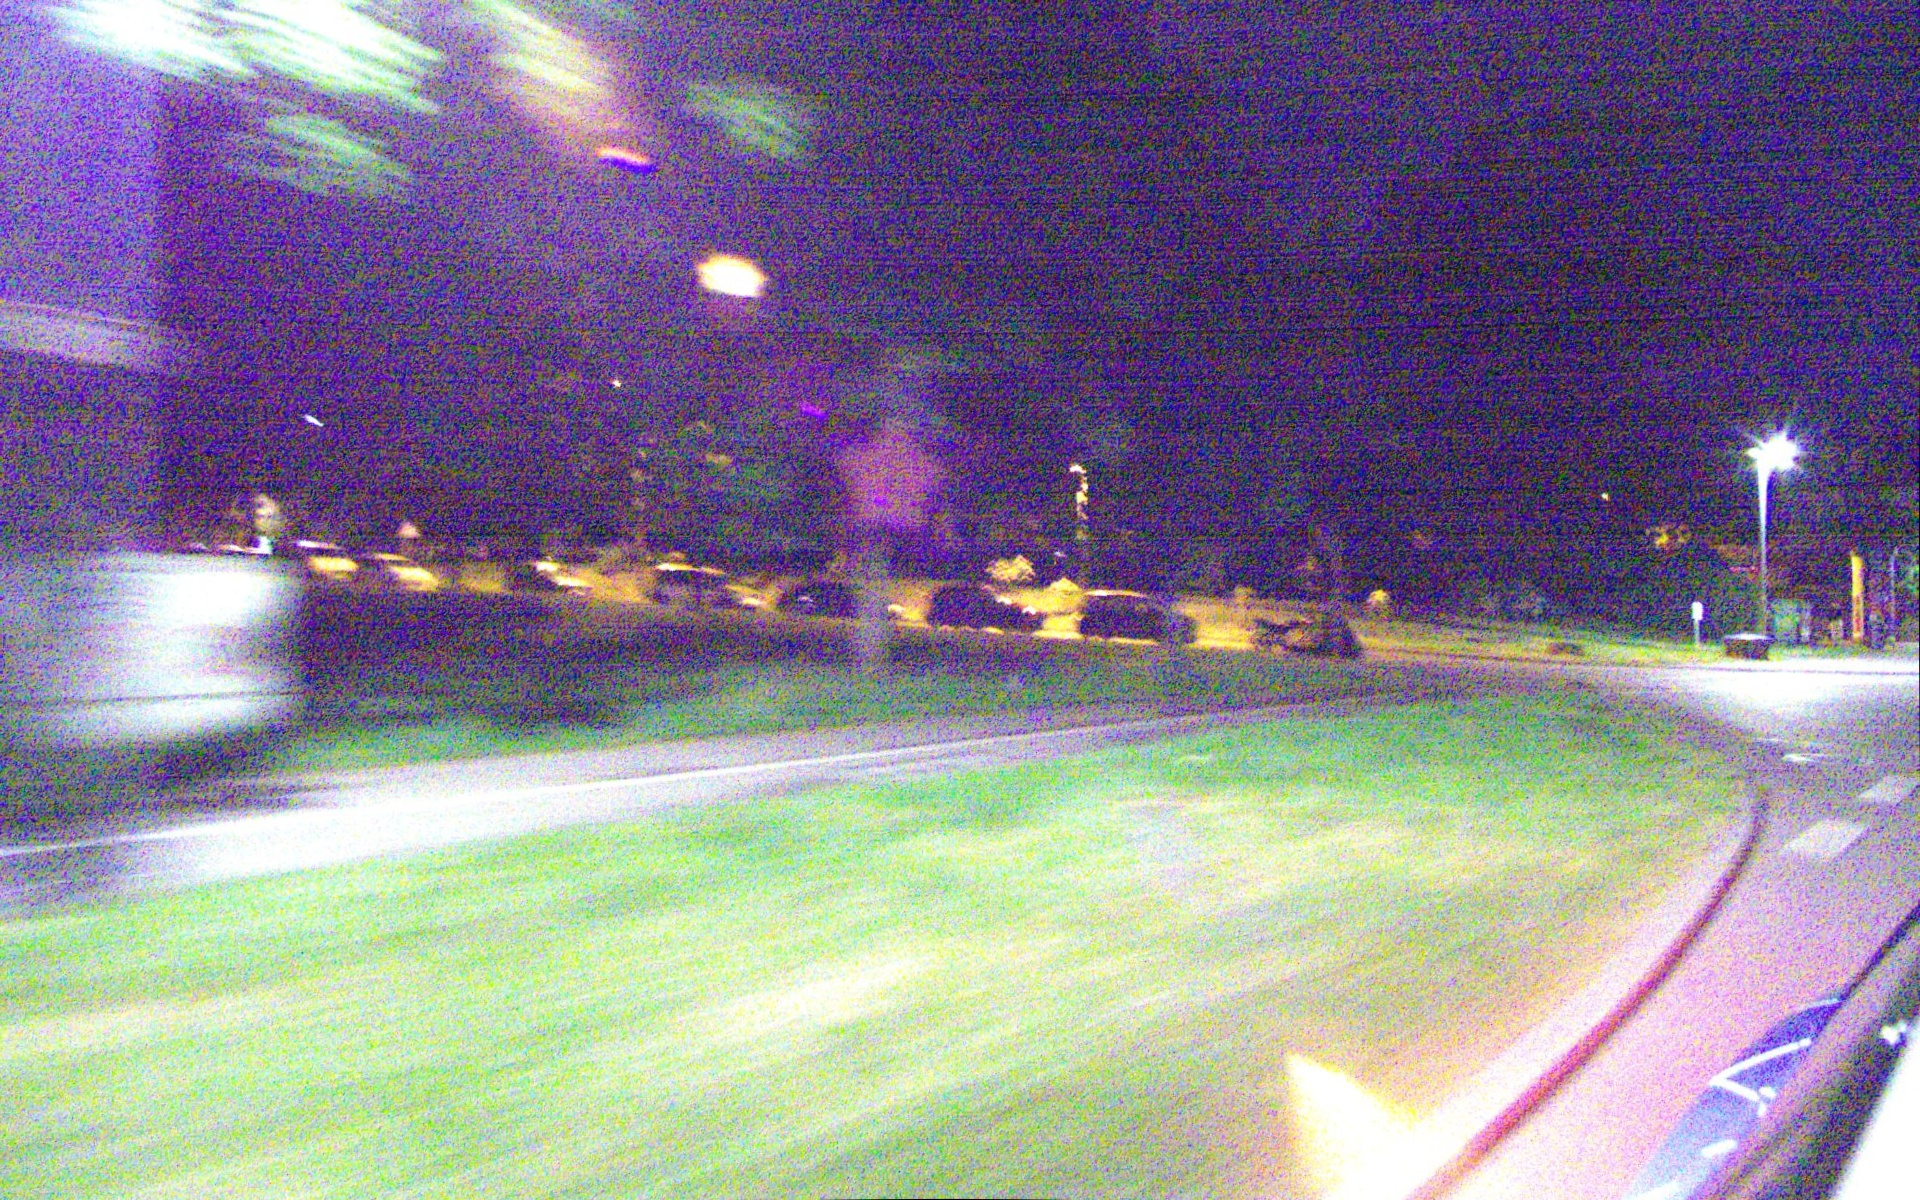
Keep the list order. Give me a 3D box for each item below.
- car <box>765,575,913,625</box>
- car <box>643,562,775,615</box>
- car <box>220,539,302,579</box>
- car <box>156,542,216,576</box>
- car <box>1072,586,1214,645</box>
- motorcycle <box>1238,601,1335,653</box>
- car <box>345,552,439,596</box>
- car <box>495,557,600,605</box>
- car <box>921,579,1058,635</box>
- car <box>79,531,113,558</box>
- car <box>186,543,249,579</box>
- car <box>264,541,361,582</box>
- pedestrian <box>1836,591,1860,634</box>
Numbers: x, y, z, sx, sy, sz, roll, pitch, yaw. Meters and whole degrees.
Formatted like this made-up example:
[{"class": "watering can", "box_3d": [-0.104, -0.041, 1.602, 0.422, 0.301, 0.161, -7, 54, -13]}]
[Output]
[{"class": "car", "box_3d": [-4.050, -0.021, 33.910, 4.652, 1.493, 1.751, 2, 1, 20]}, {"class": "car", "box_3d": [-8.847, -0.415, 35.727, 4.275, 1.691, 1.751, 2, 1, 20]}, {"class": "car", "box_3d": [-32.020, -1.884, 46.334, 4.064, 1.691, 1.558, 2, 1, 31]}, {"class": "car", "box_3d": [-40.739, -2.165, 53.273, 2.896, 1.691, 1.388, 2, 1, 27]}, {"class": "car", "box_3d": [5.269, 0.412, 29.273, 3.608, 1.498, 1.841, 2, 1, 35]}, {"class": "motorcycle", "box_3d": [8.388, 0.677, 26.046, 2.251, 1.229, 0.702, 2, 1, 35]}, {"class": "car", "box_3d": [-23.336, -1.080, 41.578, 3.392, 1.691, 1.654, 2, 1, 24]}, {"class": "car", "box_3d": [-15.626, -0.715, 38.387, 3.498, 1.691, 1.657, 2, 1, 21]}, {"class": "car", "box_3d": [0.918, 0.190, 31.705, 3.997, 1.567, 1.596, 2, 1, 29]}, {"class": "car", "box_3d": [-57.897, -3.717, 67.871, 1.509, 1.691, 2.877, 1, 1, -36]}, {"class": "car", "box_3d": [-36.835, -1.952, 50.170, 3.449, 1.691, 1.444, 2, 1, 35]}, {"class": "car", "box_3d": [-28.304, -1.683, 44.219, 4.378, 1.691, 1.819, 2, 1, 31]}, {"class": "pedestrian", "box_3d": [41.006, 0.571, 46.738, 0.759, 1.961, 0.647, 1, 1, -40]}]
